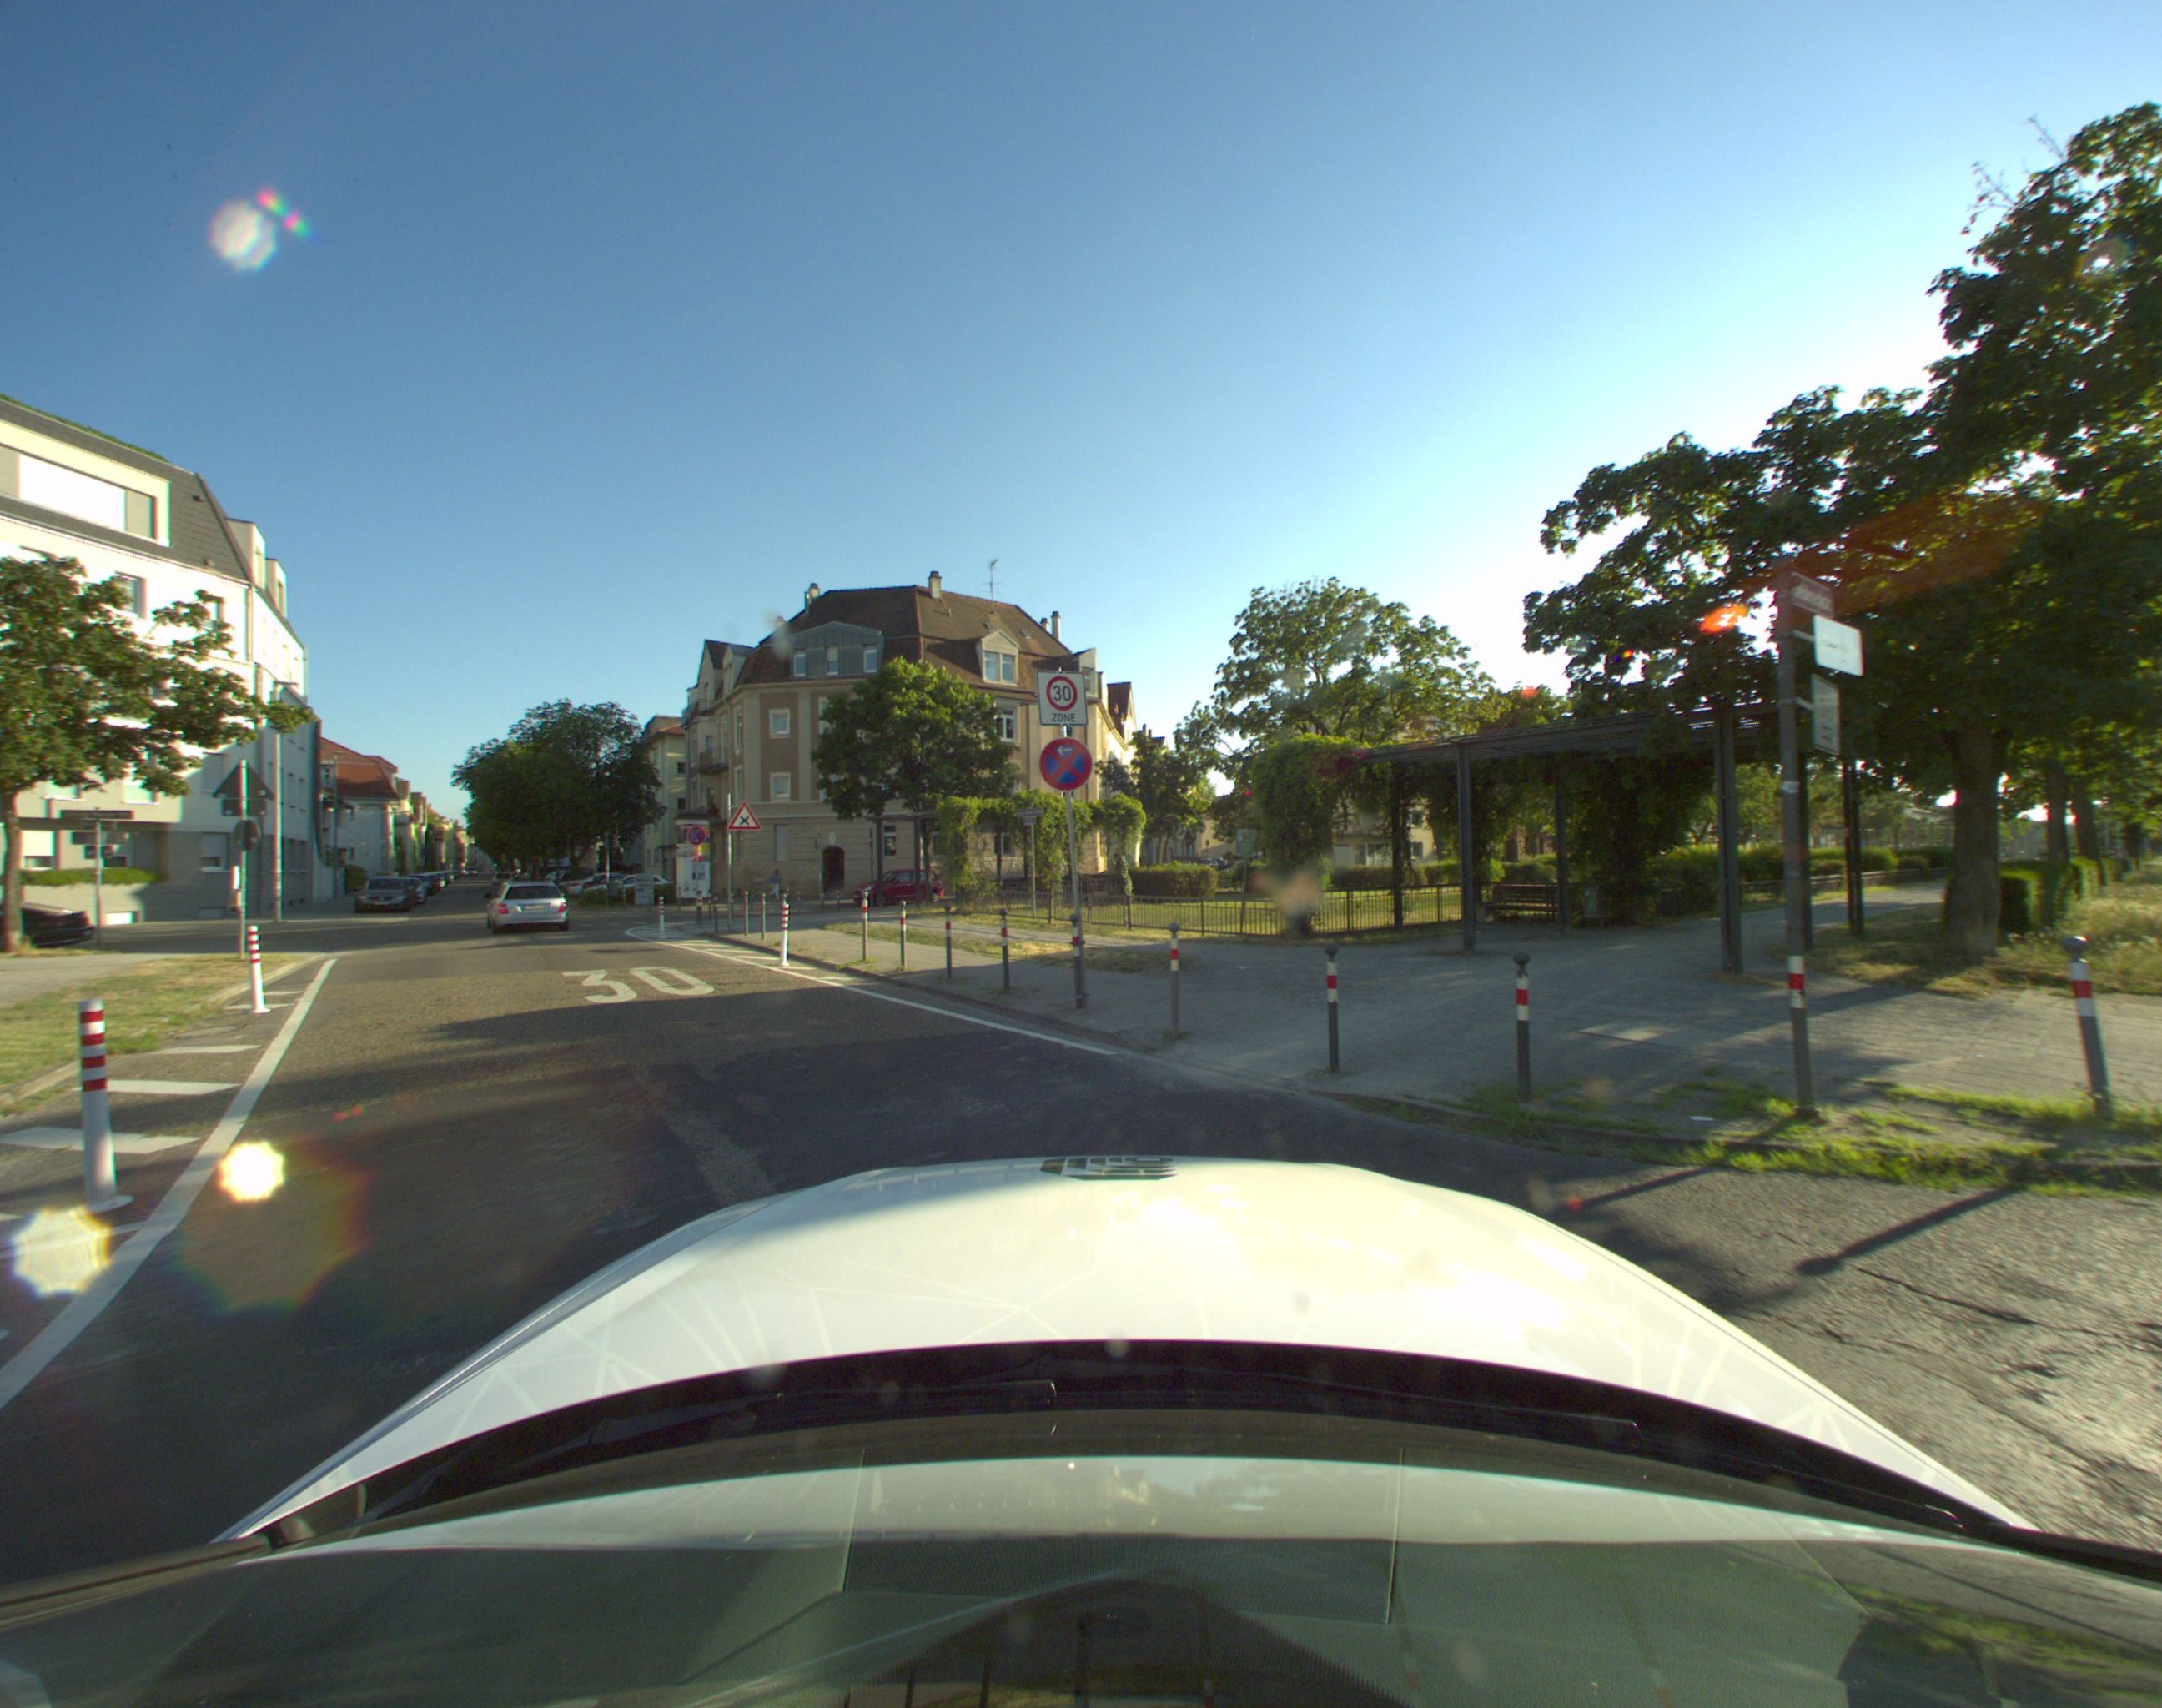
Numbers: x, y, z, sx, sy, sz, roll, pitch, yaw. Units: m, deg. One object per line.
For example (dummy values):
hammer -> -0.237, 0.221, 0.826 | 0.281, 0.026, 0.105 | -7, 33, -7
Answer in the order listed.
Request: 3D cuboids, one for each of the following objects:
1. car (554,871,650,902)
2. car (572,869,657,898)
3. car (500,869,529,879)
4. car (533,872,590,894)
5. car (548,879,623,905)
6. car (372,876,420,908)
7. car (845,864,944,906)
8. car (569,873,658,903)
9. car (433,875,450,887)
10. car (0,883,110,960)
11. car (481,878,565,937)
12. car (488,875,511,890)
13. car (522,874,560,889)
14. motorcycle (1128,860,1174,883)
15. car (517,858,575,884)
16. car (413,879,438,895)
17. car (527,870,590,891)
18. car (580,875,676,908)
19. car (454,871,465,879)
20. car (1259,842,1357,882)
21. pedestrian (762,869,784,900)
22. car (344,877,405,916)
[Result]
car -> -28.141, 1.855, 47.948 | 4.517, 1.525, 1.930 | -2, 1, -43
car -> -30.382, 1.888, 53.102 | 4.563, 1.641, 1.853 | -1, 0, -38
car -> -91.306, 3.186, 131.280 | 3.874, 1.482, 1.785 | -1, 0, -36
car -> -42.195, 2.340, 66.139 | 3.761, 1.558, 1.705 | -1, 0, -38
car -> -34.375, 2.595, 56.559 | 4.224, 1.558, 1.853 | -1, 0, -38
car -> -36.916, 2.016, 43.972 | 1.900, 1.591, 4.042 | 0, -1, -39
car -> -8.628, 1.393, 37.804 | 4.105, 1.740, 1.792 | -1, 1, -36
car -> -26.393, 1.909, 46.042 | 4.176, 1.448, 1.654 | -2, 0, -38
car -> -88.446, 3.725, 112.666 | 1.813, 1.482, 3.814 | 0, -1, -37
car -> -25.596, 1.544, 18.101 | 4.861, 1.669, 1.769 | 0, -1, -36
car -> -15.971, 1.469, 23.379 | 1.830, 1.473, 4.171 | -1, -1, -34
car -> -60.733, 2.986, 85.137 | 1.830, 1.473, 4.171 | -1, -1, -34
car -> -63.442, 3.214, 95.693 | 3.624, 1.660, 1.631 | -1, 0, -39
motorcycle -> 4.673, 1.183, 54.638 | 3.189, 1.487, 0.858 | -3, -3, 42
car -> -64.541, 2.011, 98.351 | 5.588, 2.968, 2.443 | -1, 0, -39
car -> -63.032, 3.171, 78.337 | 1.672, 1.499, 3.712 | 0, -1, -36
car -> -46.835, 2.348, 73.032 | 4.662, 1.837, 1.932 | 0, -1, -37
car -> -23.466, 1.908, 42.244 | 4.081, 1.505, 1.841 | -1, 0, -38
car -> -128.439, 4.373, 168.261 | 1.540, 1.475, 4.226 | 0, -2, -33
car -> 16.854, 0.609, 60.527 | 6.607, 2.745, 2.331 | -2, -1, 24
pedestrian -> -15.747, 1.542, 41.650 | 0.817, 1.545, 0.741 | 2, 1, -5
car -> -31.161, 1.826, 36.013 | 1.900, 1.591, 4.042 | 0, -1, -39
